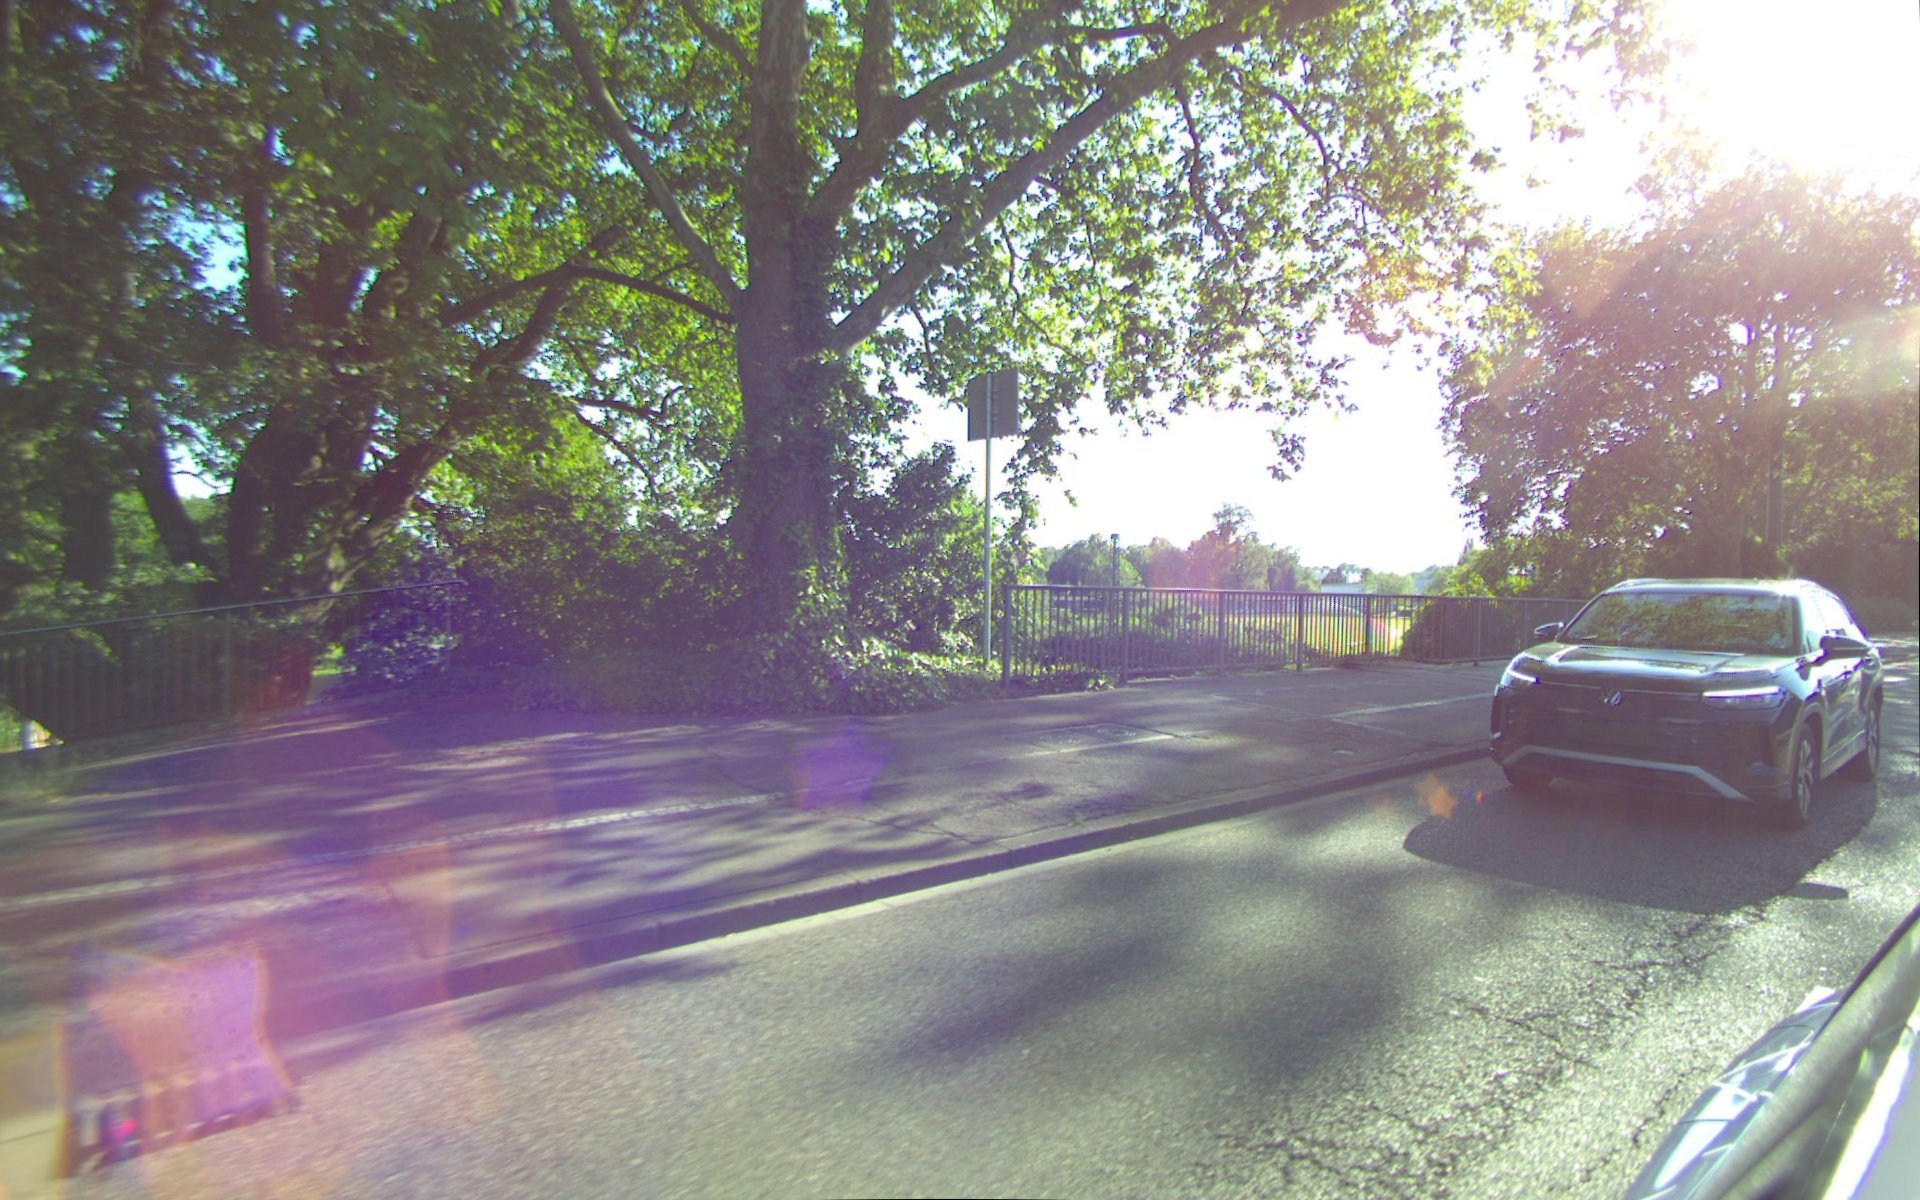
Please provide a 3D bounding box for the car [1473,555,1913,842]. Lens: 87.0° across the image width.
[{"bbox_3d":[5.987,0.546,8.050,4.361,1.681,1.848,0,2,-41],"label":"car"}]
